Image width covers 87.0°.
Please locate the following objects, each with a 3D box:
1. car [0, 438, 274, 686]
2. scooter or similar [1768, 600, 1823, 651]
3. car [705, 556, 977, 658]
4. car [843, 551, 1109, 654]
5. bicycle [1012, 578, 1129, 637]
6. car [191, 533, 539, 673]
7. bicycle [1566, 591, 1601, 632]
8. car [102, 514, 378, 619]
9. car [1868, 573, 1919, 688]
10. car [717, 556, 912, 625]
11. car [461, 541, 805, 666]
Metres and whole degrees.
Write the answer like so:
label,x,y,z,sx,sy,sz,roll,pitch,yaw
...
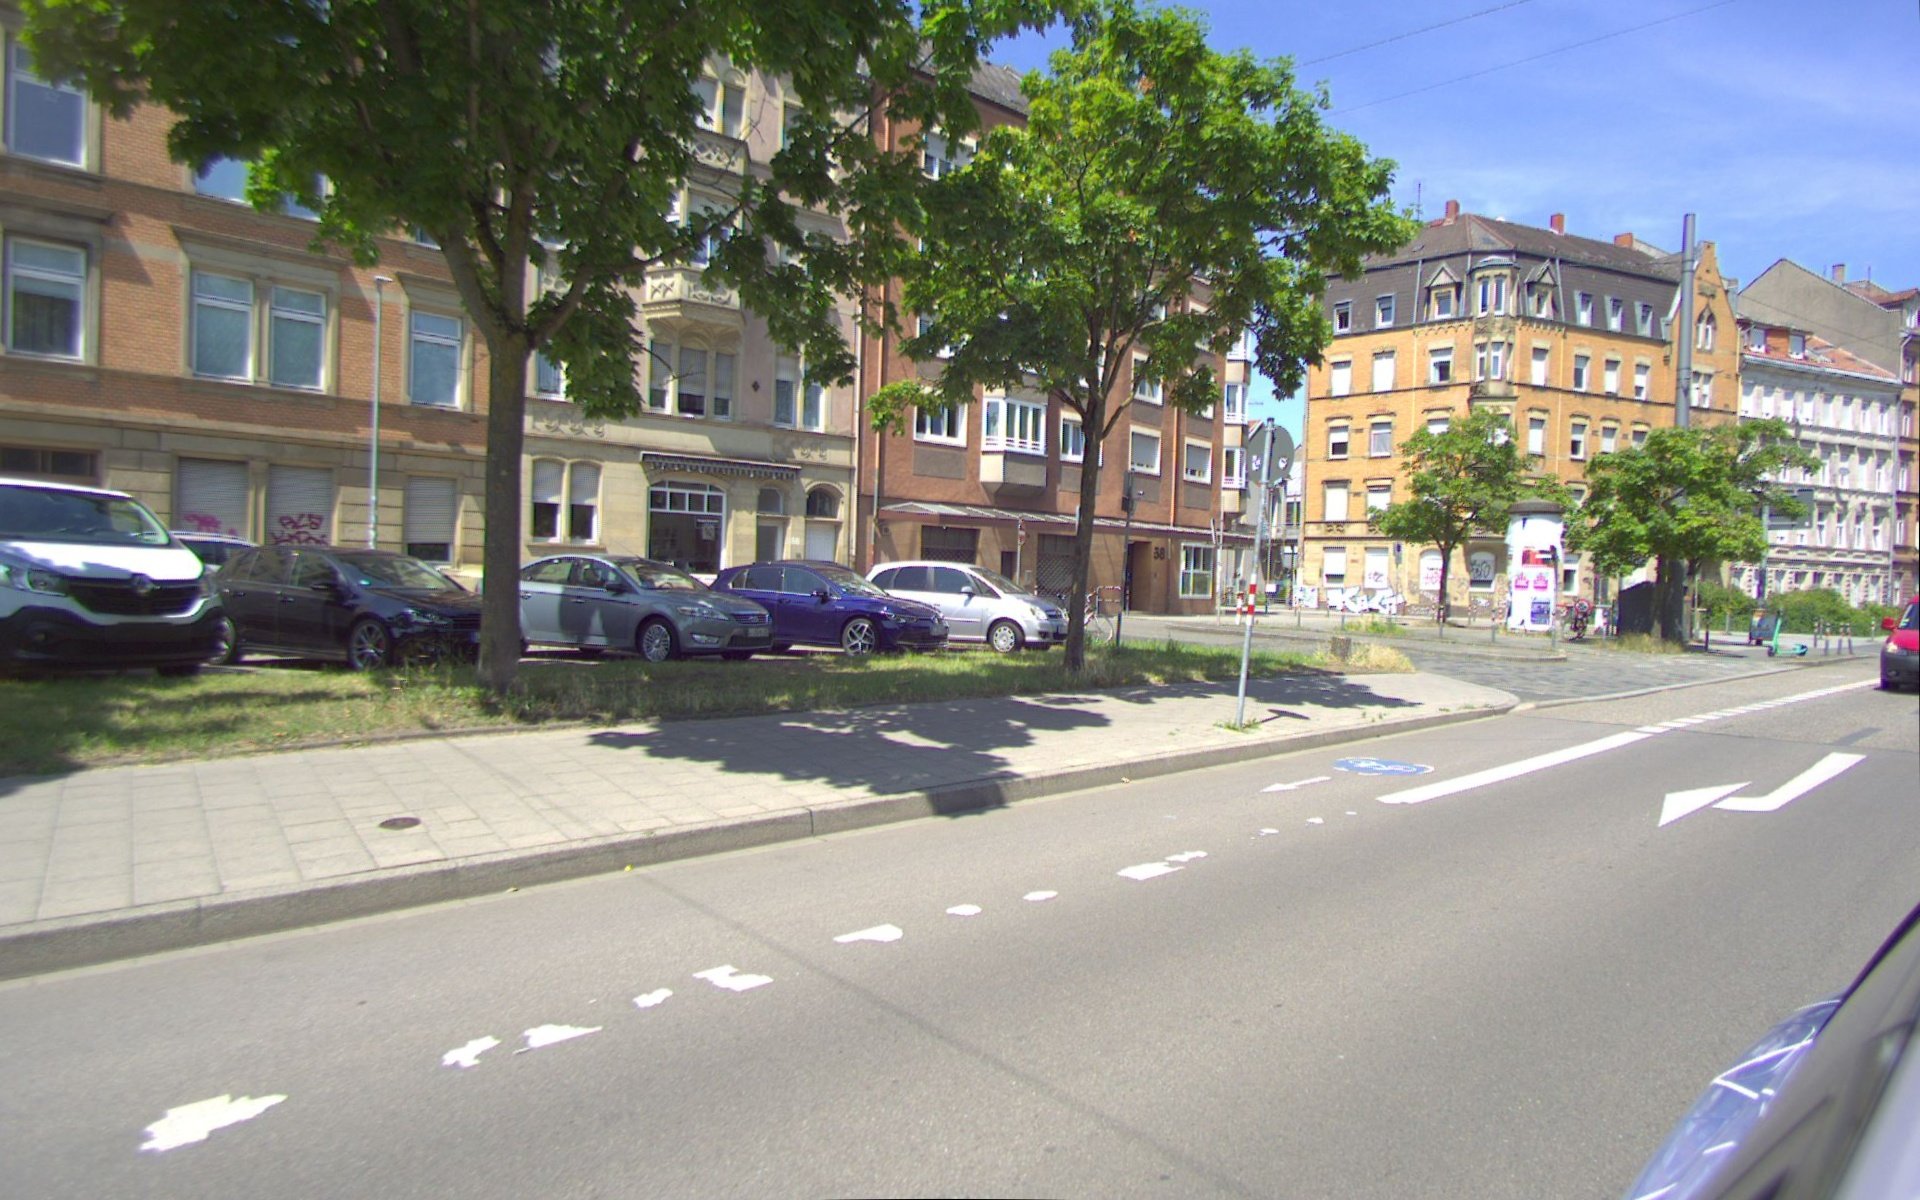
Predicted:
label,x,y,z,sx,sy,sz,roll,pitch,yaw
car,-9.411,-0.335,9.987,4.790,1.998,2.062,0,0,21
scooter or similar,21.396,0.661,25.920,1.154,1.228,0.393,3,3,-17
car,-1.892,0.079,15.848,3.965,1.417,1.805,1,0,29
car,0.266,0.017,18.136,4.372,1.652,1.980,1,0,28
bicycle,2.307,0.159,21.154,2.312,1.208,0.742,0,0,-8
car,-7.029,0.003,11.902,3.965,1.404,1.805,1,0,29
bicycle,18.357,0.334,29.787,1.680,1.167,0.486,0,0,-44
car,-13.019,-0.559,18.421,3.931,1.705,1.822,0,0,-42
car,17.619,0.486,17.529,5.070,1.857,1.860,0,0,-37
car,-3.675,-0.250,25.854,4.510,1.620,2.001,0,0,-34
car,-4.625,0.016,14.241,4.586,1.516,1.948,1,0,26
